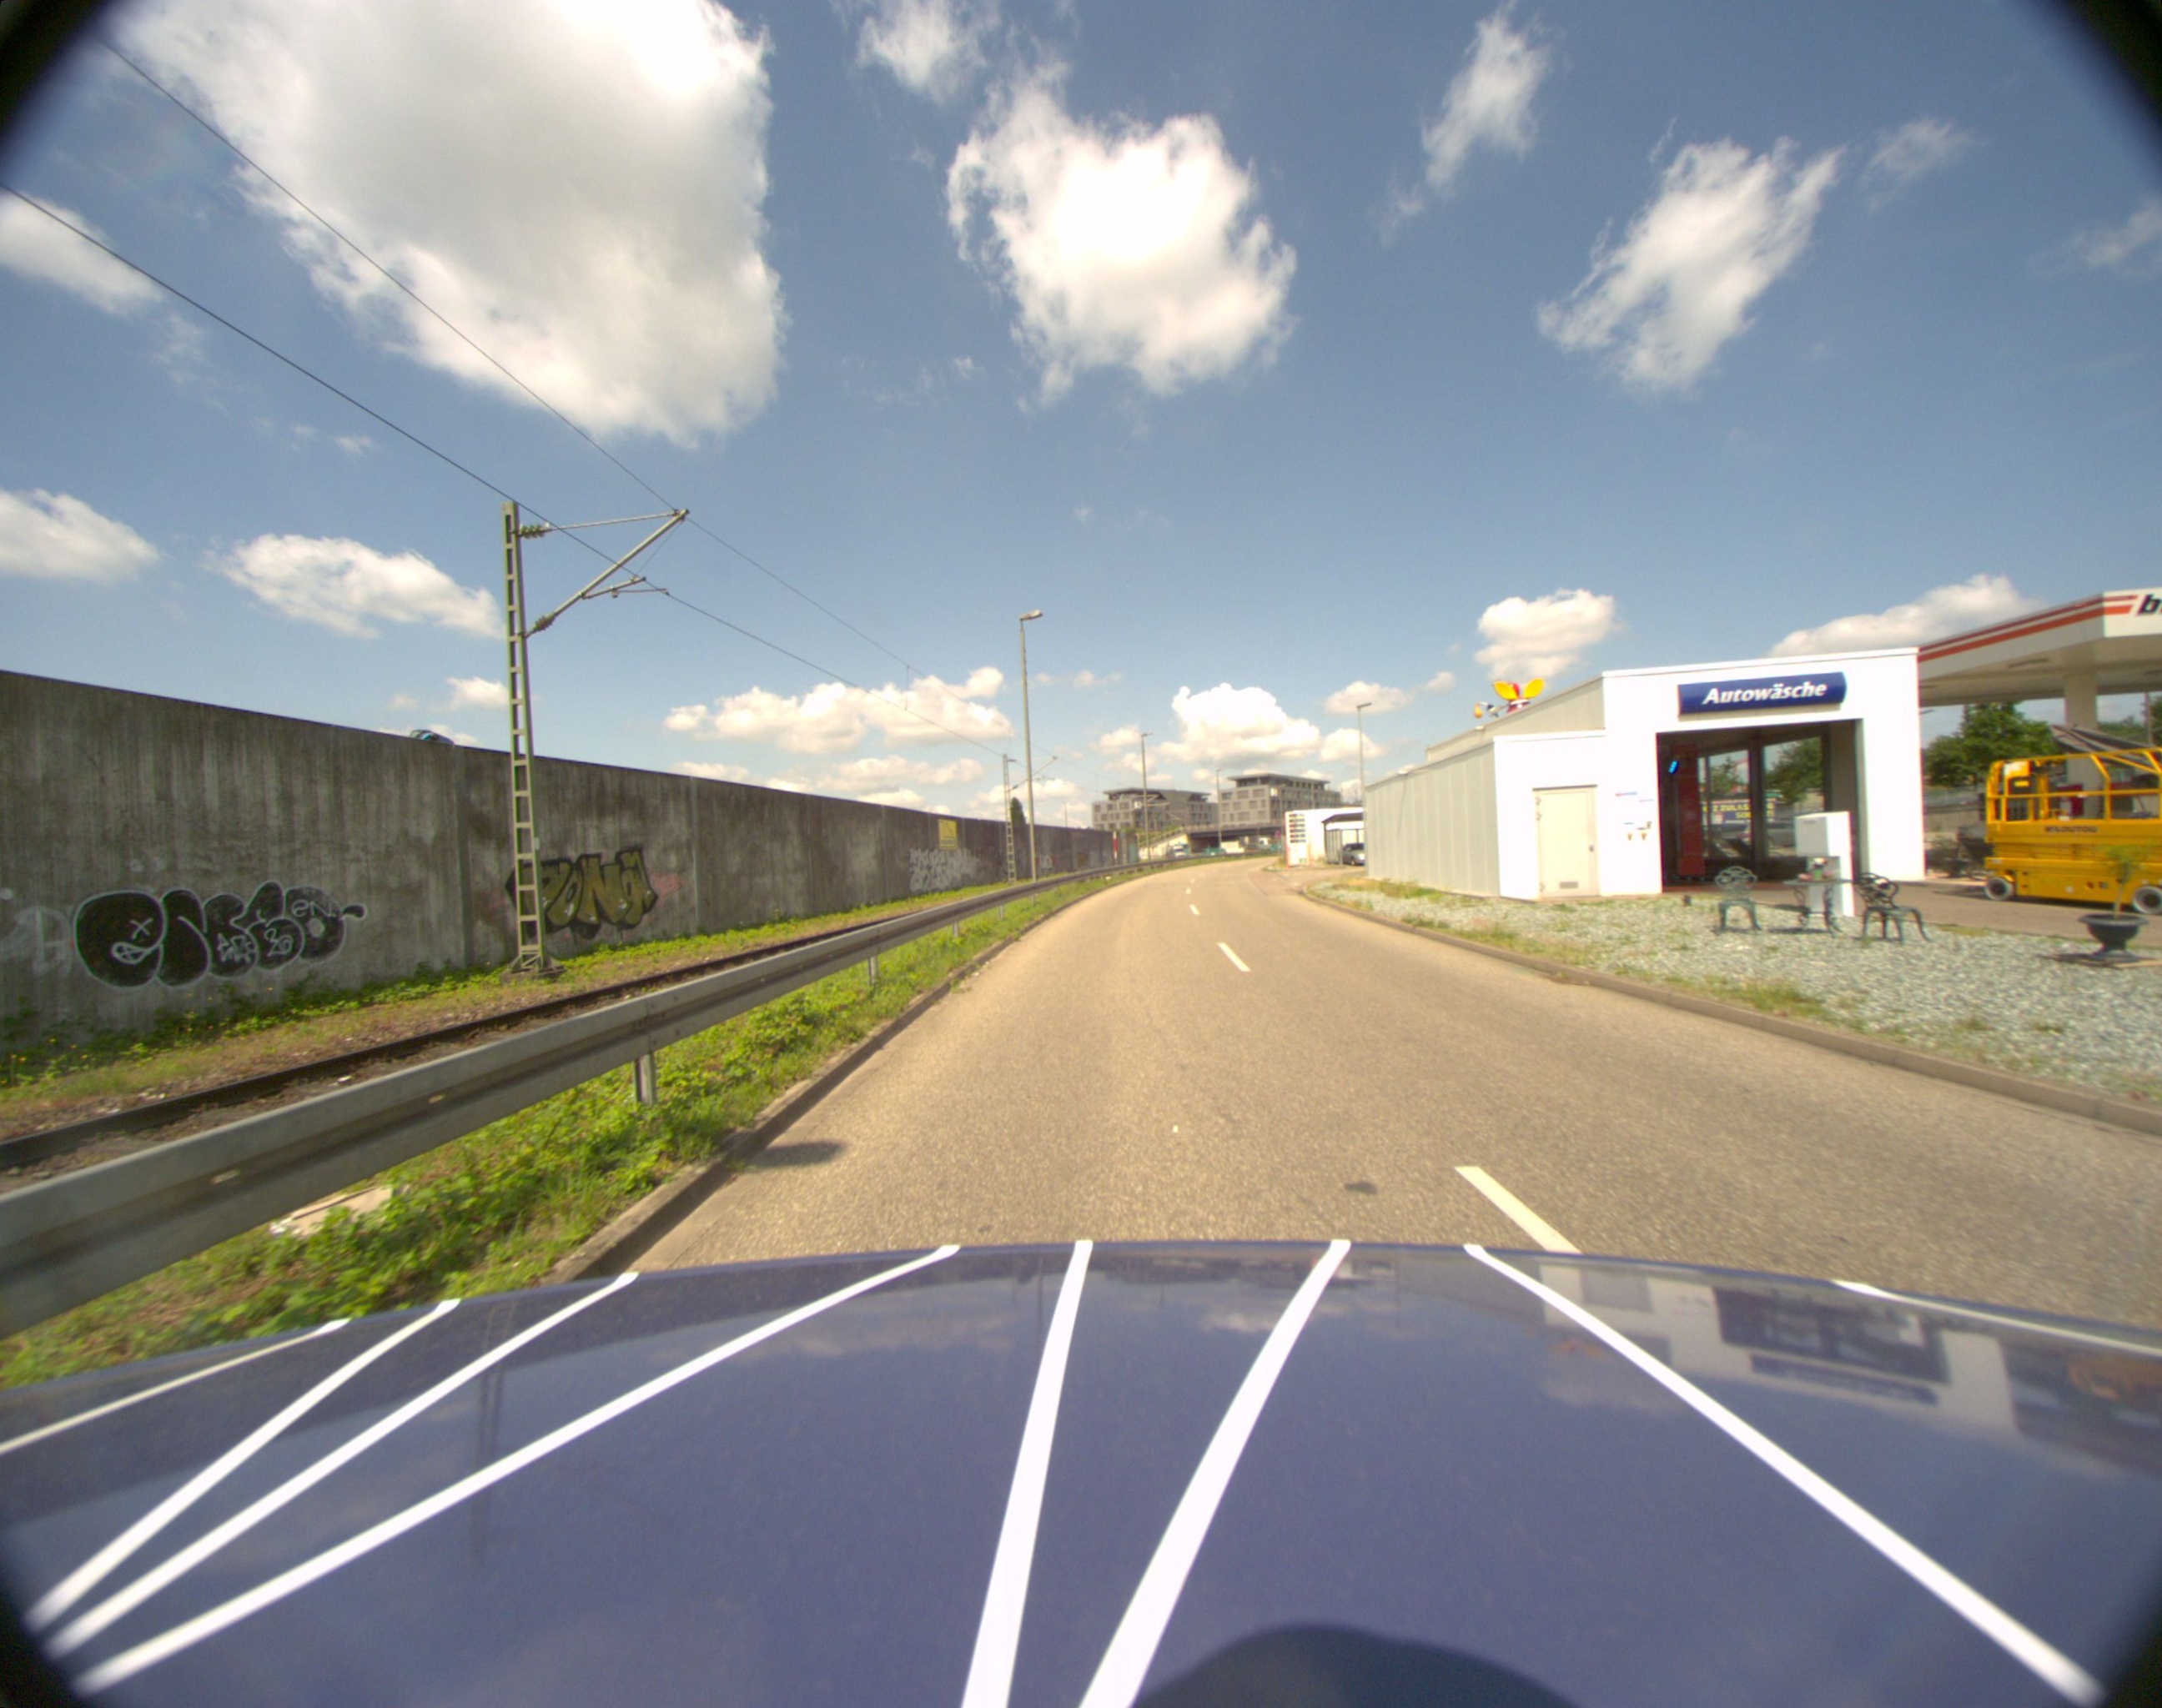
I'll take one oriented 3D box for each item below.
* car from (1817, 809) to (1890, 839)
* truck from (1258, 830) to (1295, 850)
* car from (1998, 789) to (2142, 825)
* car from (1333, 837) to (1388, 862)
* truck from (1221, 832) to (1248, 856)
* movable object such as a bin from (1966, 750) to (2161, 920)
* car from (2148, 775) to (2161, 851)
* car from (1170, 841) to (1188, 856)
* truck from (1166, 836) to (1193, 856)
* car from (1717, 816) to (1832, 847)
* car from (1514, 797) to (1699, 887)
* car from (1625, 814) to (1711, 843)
[{"bbox_3d":[44.673,-1.688,44.020,1.270,1.615,3.125,-2,1,6],"label":"car"},{"bbox_3d":[32.834,-2.389,127.756,5.499,3.080,2.004,-2,1,38],"label":"truck"},{"bbox_3d":[51.598,-2.418,39.789,1.998,1.593,4.313,-2,1,2],"label":"car"},{"bbox_3d":[17.736,-0.299,48.474,1.921,1.369,4.791,-4,1,3],"label":"car"},{"bbox_3d":[23.260,-1.580,115.528,2.992,3.400,8.115,-2,1,4],"label":"truck"},{"bbox_3d":[14.241,-0.300,10.510,1.065,2.140,2.704,-3,2,7],"label":"movable object such as a bin"},{"bbox_3d":[28.986,-1.061,17.754,1.997,2.002,4.671,-2,1,10],"label":"car"},{"bbox_3d":[17.131,-0.997,132.919,2.065,2.512,5.880,-4,1,-2],"label":"car"},{"bbox_3d":[18.640,-1.518,144.205,2.656,3.625,6.880,-5,1,-12],"label":"truck"},{"bbox_3d":[37.166,-1.190,40.802,4.528,1.480,1.922,-2,1,-3],"label":"car"},{"bbox_3d":[14.127,-0.321,20.880,1.997,2.097,5.012,-2,1,6],"label":"car"},{"bbox_3d":[35.484,-1.518,46.093,1.997,1.543,4.599,-2,1,6],"label":"car"}]
